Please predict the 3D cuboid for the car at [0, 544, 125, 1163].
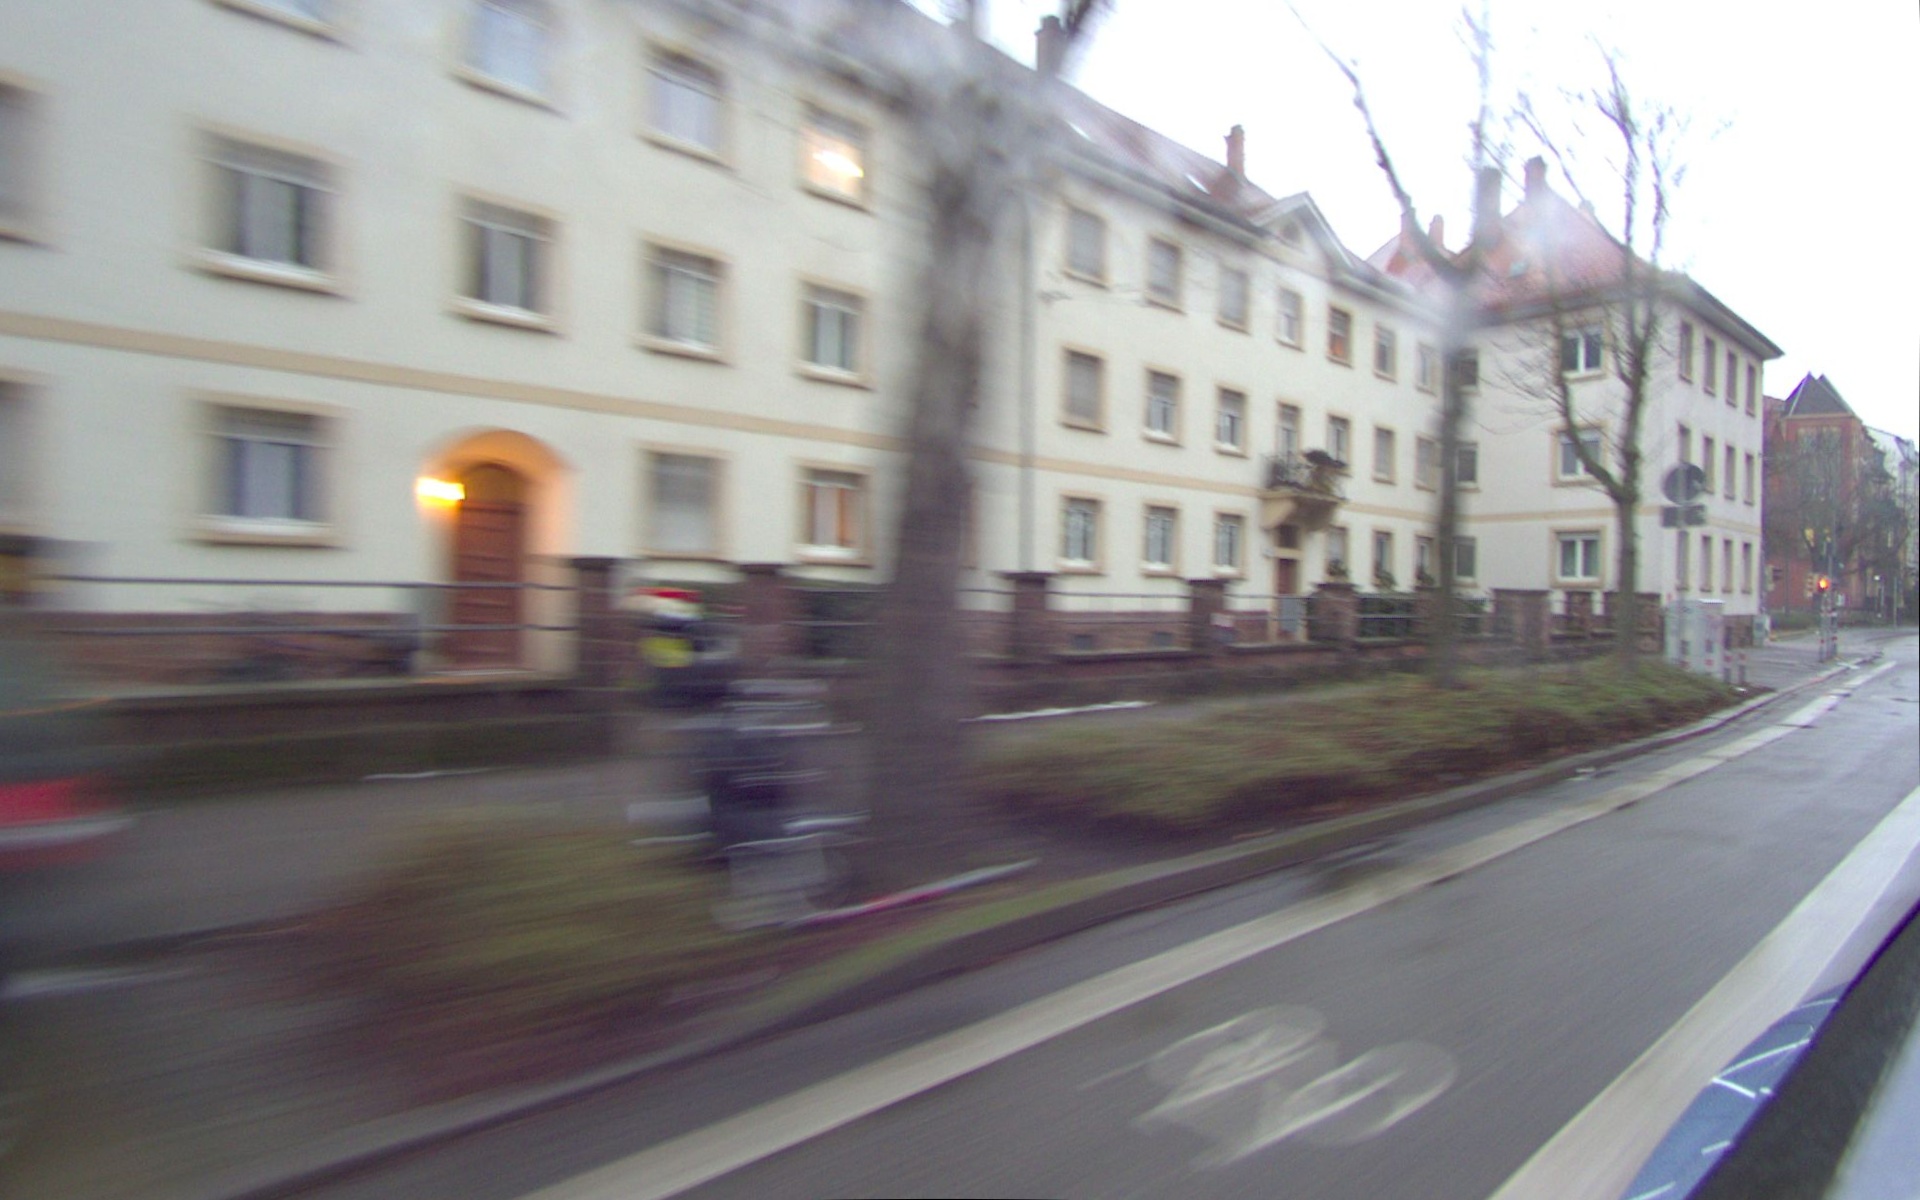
[{"bbox_3d":[-4.241,0.615,2.030,3.918,1.528,1.788,0,1,-41],"label":"car"}]
